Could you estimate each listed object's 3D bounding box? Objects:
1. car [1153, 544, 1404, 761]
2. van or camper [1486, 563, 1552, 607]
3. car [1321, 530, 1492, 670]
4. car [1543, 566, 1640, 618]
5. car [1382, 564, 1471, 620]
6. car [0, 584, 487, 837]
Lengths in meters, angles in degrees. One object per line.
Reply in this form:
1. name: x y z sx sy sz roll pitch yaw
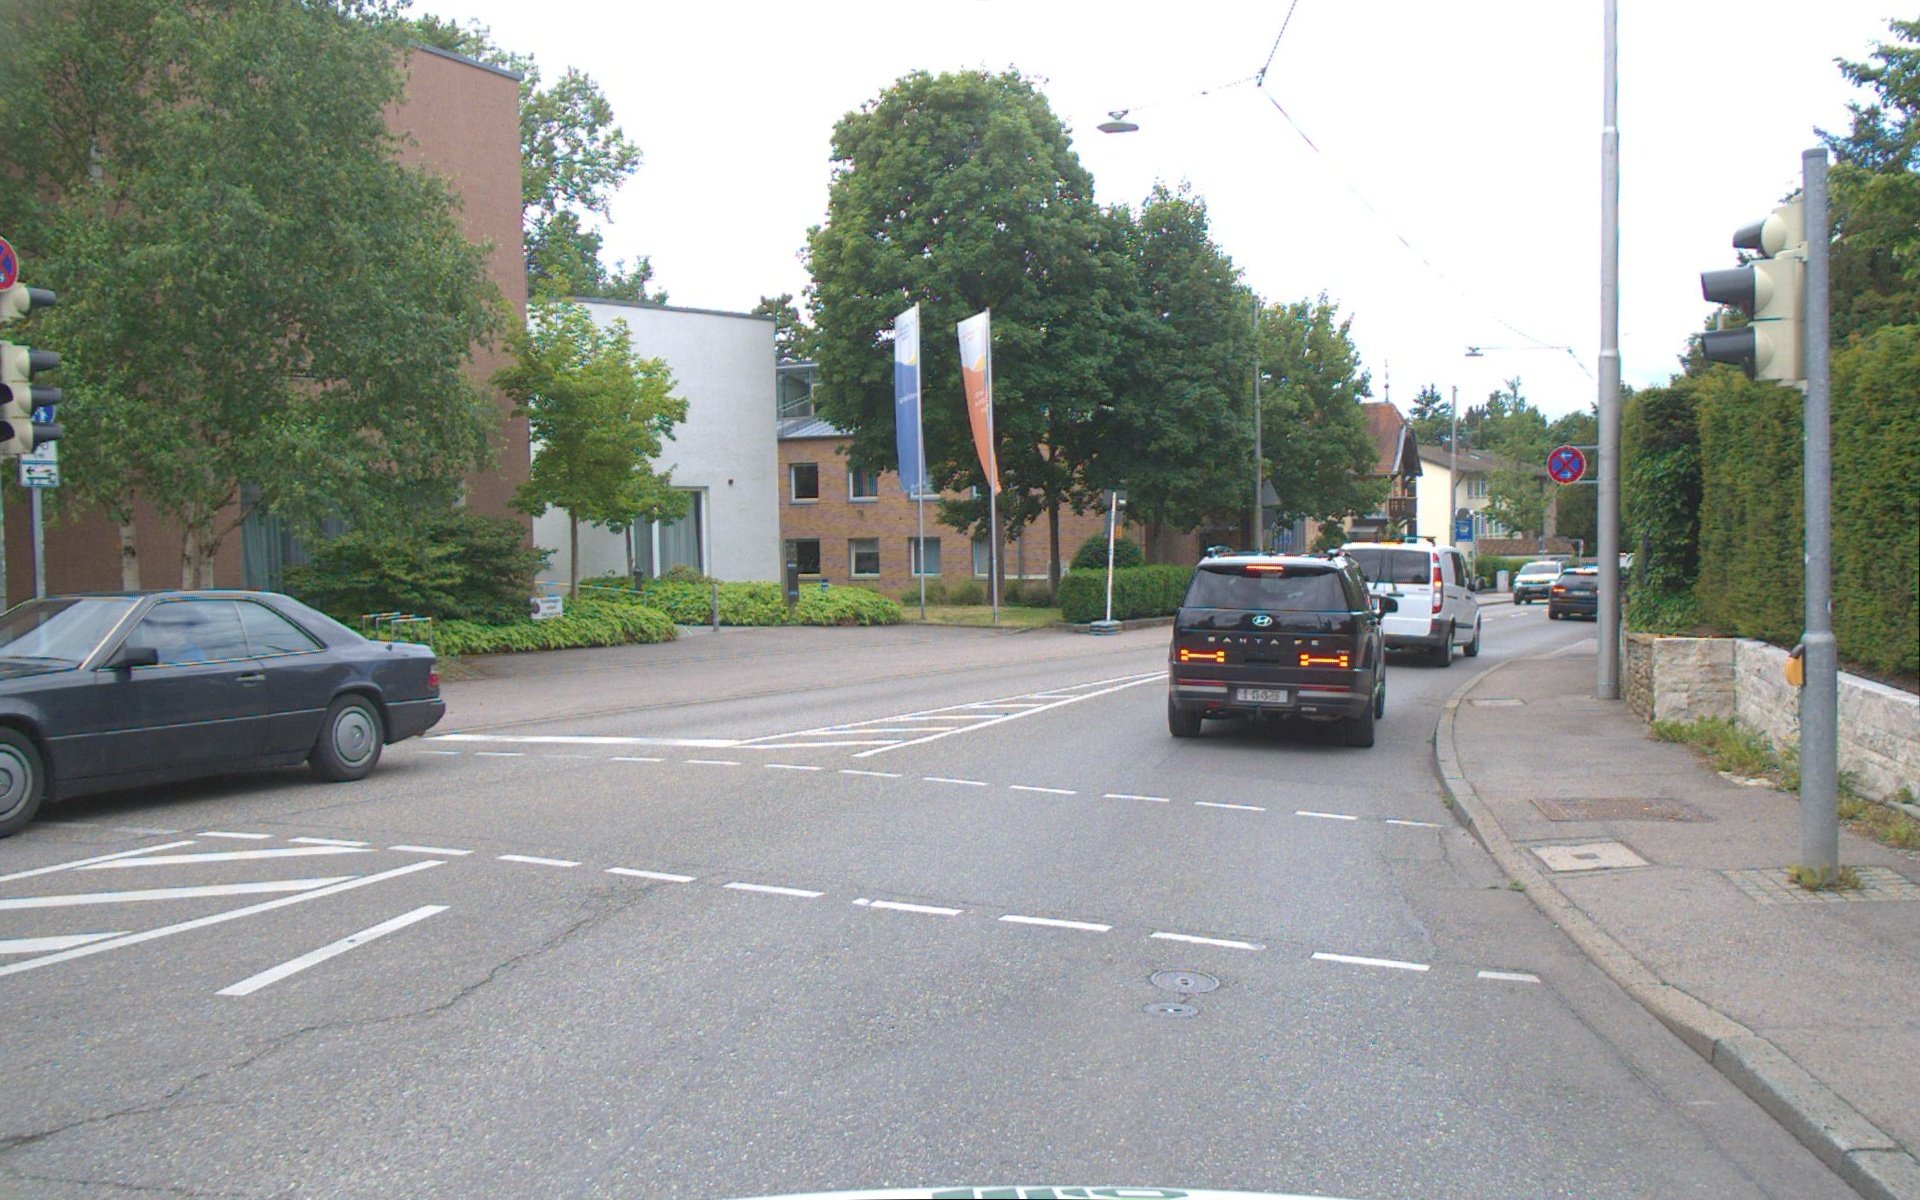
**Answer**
1. car: 3.261 0.368 16.263 1.916 1.742 4.226 3 3 17
2. van or camper: 21.854 -0.609 64.555 1.954 1.635 3.997 -1 1 25
3. car: 7.461 -0.031 27.347 1.919 1.989 4.220 5 3 25
4. car: 18.108 -0.247 47.347 1.957 1.429 3.992 0 1 31
5. car: 13.332 -0.243 47.157 1.663 1.465 3.752 -2 0 28
6. car: -5.447 0.615 10.817 1.809 1.351 4.866 -1 0 24
